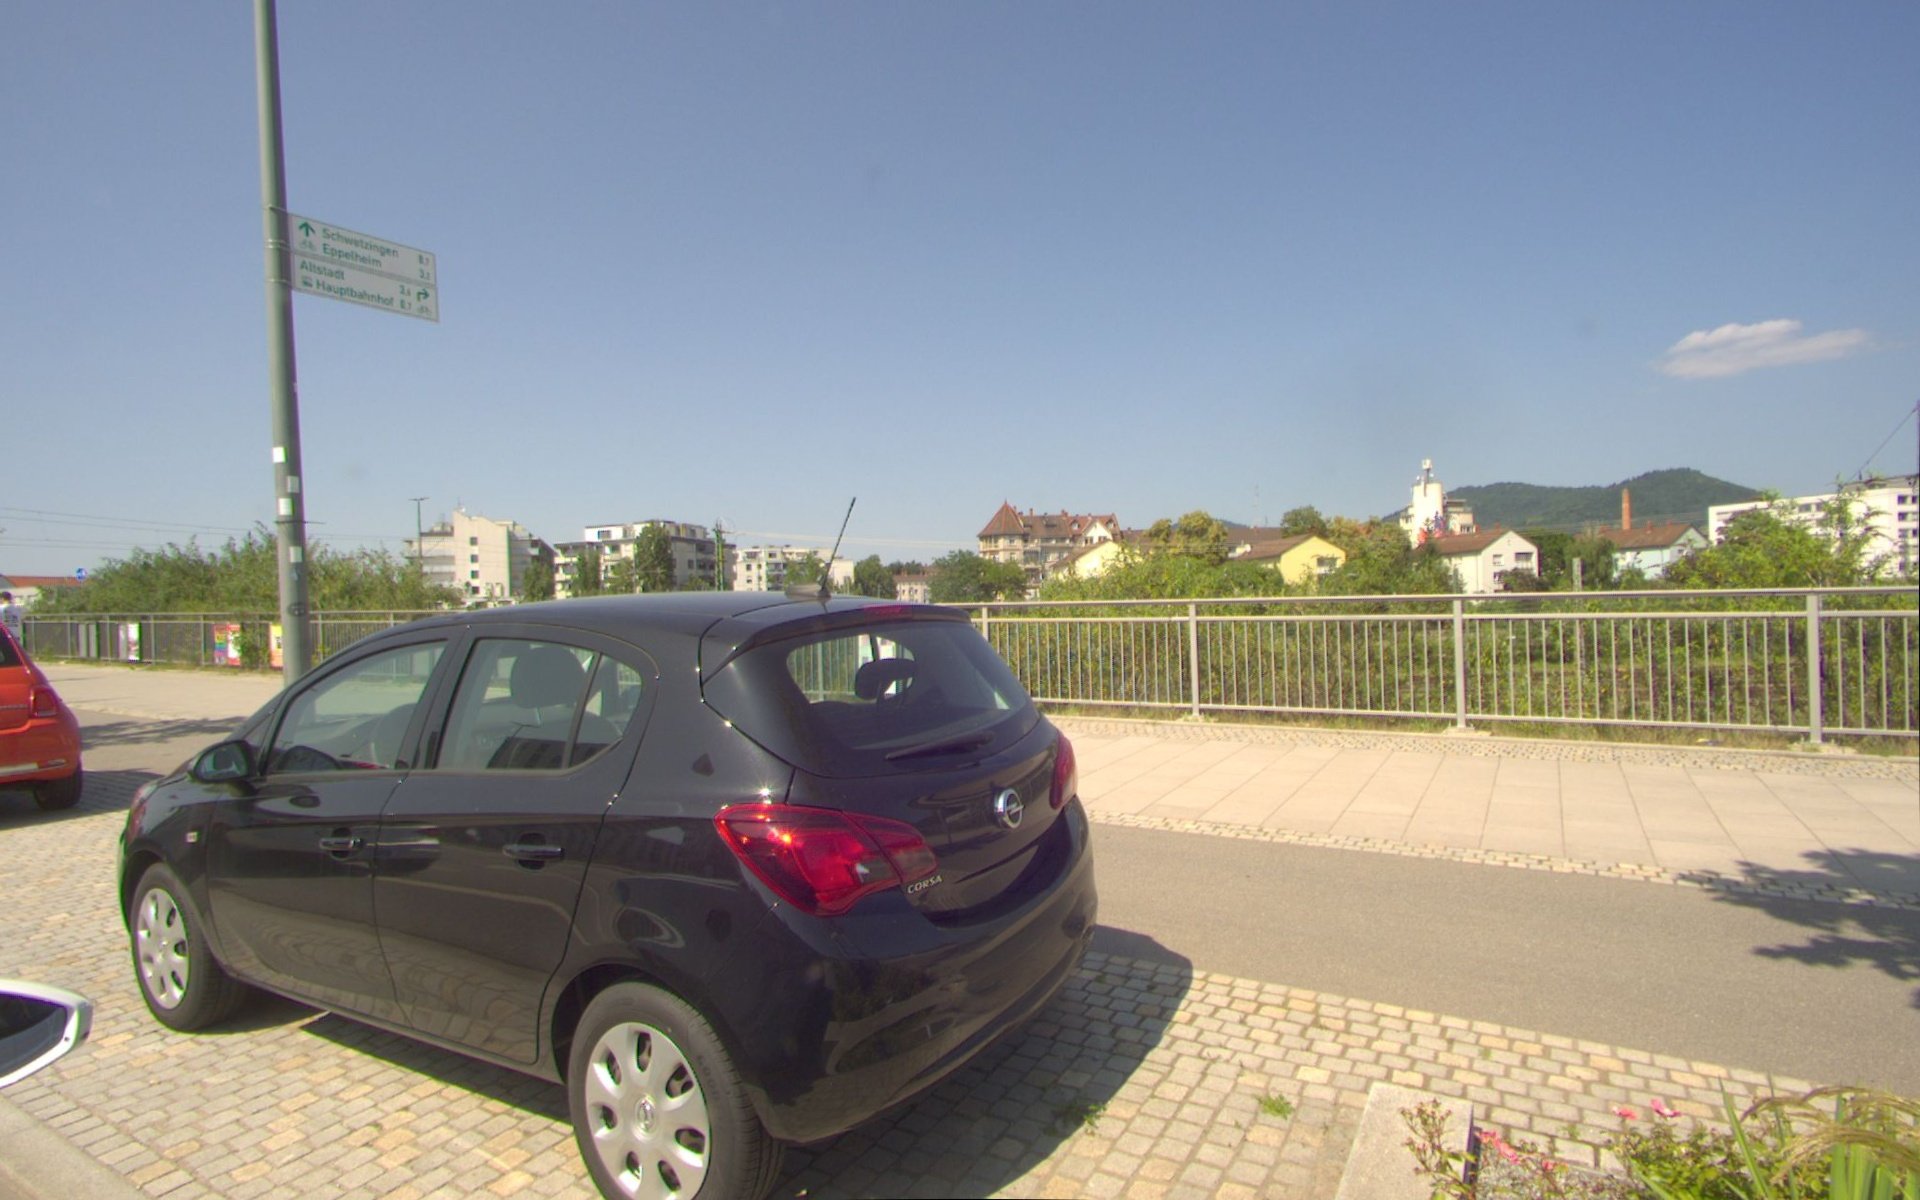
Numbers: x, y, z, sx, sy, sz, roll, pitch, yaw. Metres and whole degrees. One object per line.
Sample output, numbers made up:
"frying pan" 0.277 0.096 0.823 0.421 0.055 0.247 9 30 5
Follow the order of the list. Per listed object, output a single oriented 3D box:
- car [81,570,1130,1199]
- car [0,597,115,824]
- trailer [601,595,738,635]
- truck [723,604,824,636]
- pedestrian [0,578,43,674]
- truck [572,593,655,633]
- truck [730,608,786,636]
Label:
"car" -1.351 0.739 3.498 3.495 1.577 1.577 -1 2 32
"car" -8.381 0.773 7.794 3.860 1.561 1.665 0 2 33
"trailer" -26.874 1.565 94.593 3.674 3.243 17.244 -1 -3 17
"truck" -21.021 2.424 114.870 3.674 3.243 17.876 -1 -3 17
"pedestrian" -18.698 0.526 19.691 0.872 1.853 0.757 -1 -2 32
"truck" -29.557 1.195 85.698 3.672 3.244 6.485 -1 -2 17
"truck" -24.437 2.729 121.896 2.459 3.197 9.899 -1 -2 16
